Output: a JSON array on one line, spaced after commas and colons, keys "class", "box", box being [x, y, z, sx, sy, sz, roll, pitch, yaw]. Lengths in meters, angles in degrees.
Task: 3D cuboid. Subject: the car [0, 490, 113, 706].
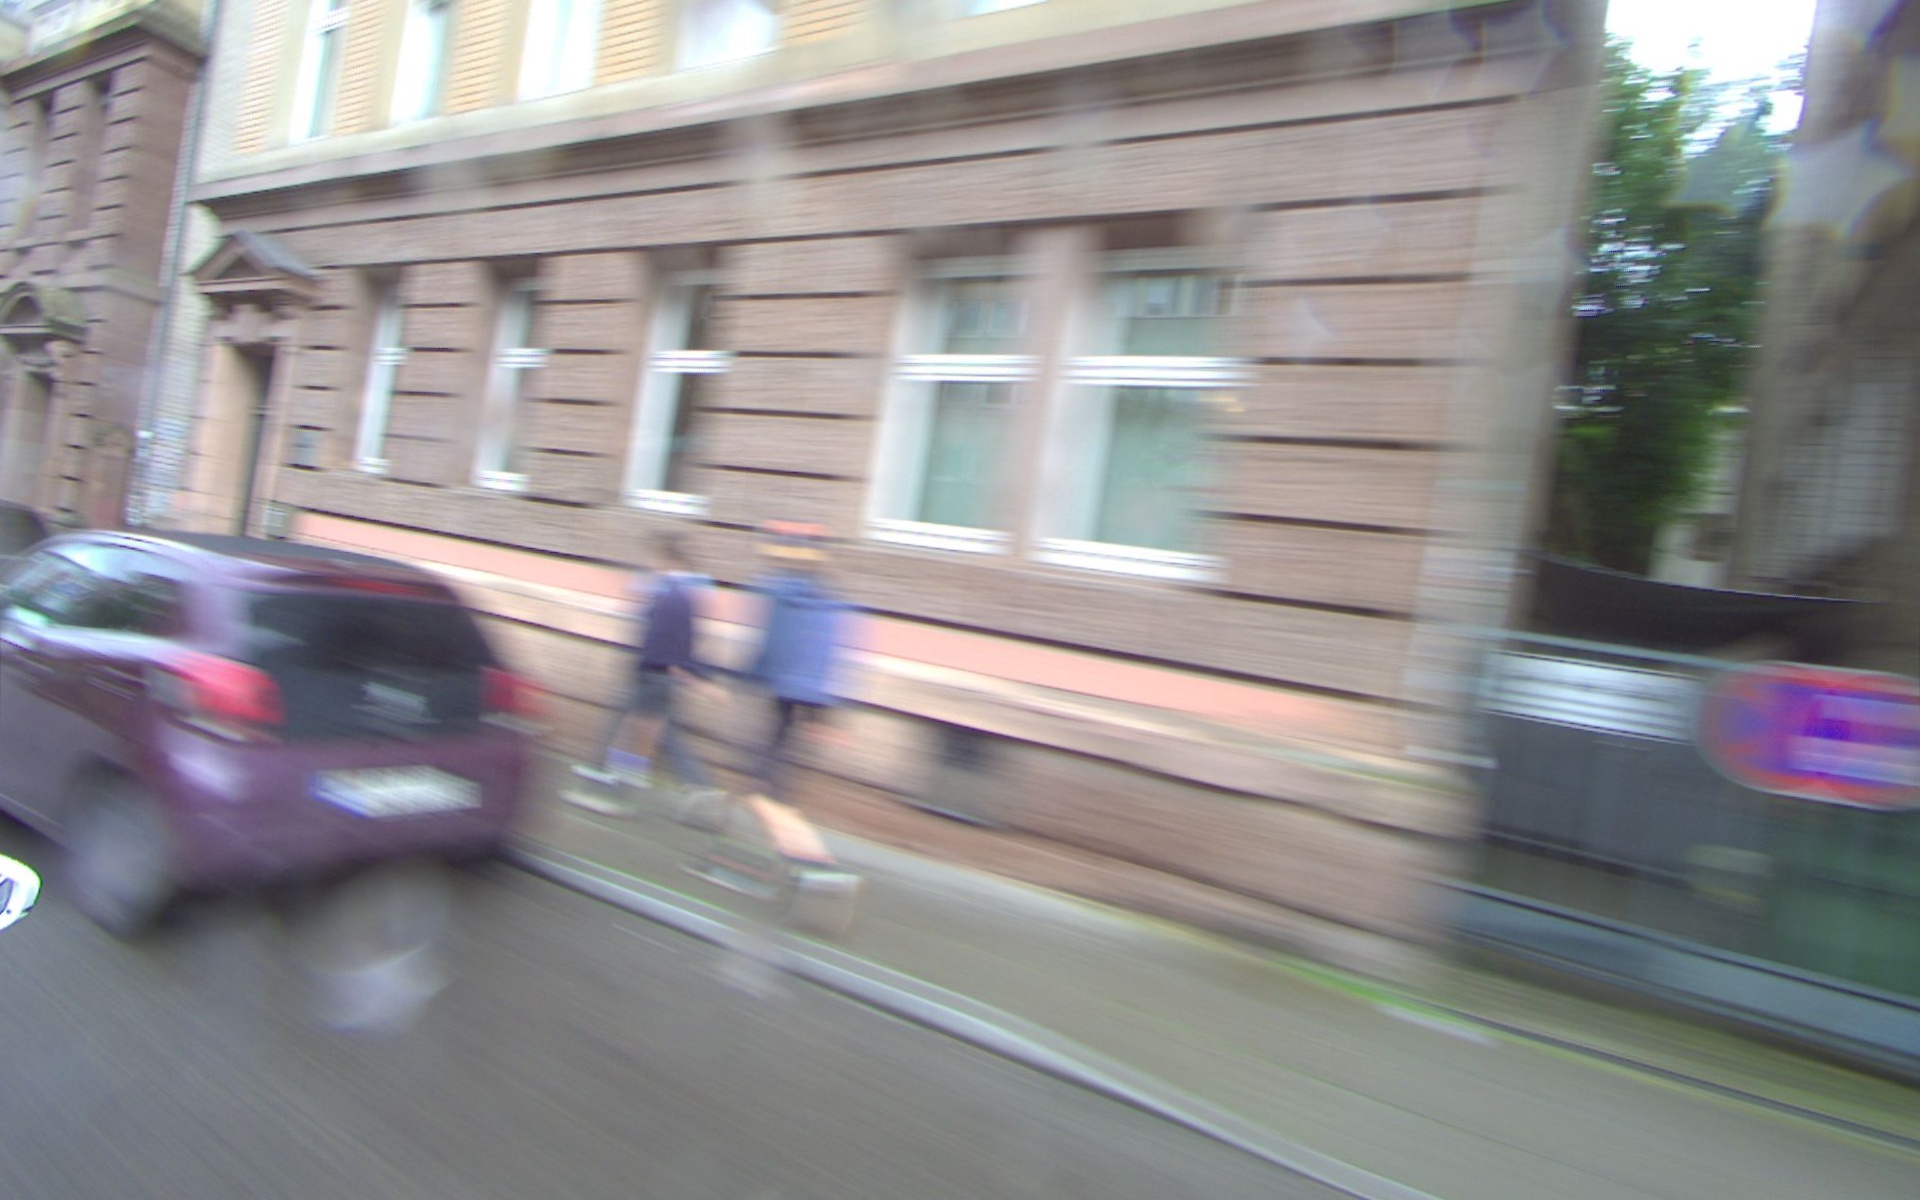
[{"class": "car", "box": [-8.288, -0.216, 7.624, 3.756, 1.477, 1.580, 7, -1, 30]}]

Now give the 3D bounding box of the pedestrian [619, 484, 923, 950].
[{"class": "pedestrian", "box": [-0.862, 0.471, 4.609, 0.945, 1.843, 0.703, 9, 3, 31]}]

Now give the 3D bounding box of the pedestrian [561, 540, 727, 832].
[{"class": "pedestrian", "box": [-1.876, 0.482, 5.982, 0.666, 1.599, 0.520, 5, 1, 31]}]

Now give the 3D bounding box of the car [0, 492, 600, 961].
[{"class": "car", "box": [-3.642, 0.360, 4.909, 3.418, 1.477, 1.652, 7, -1, 32]}]
